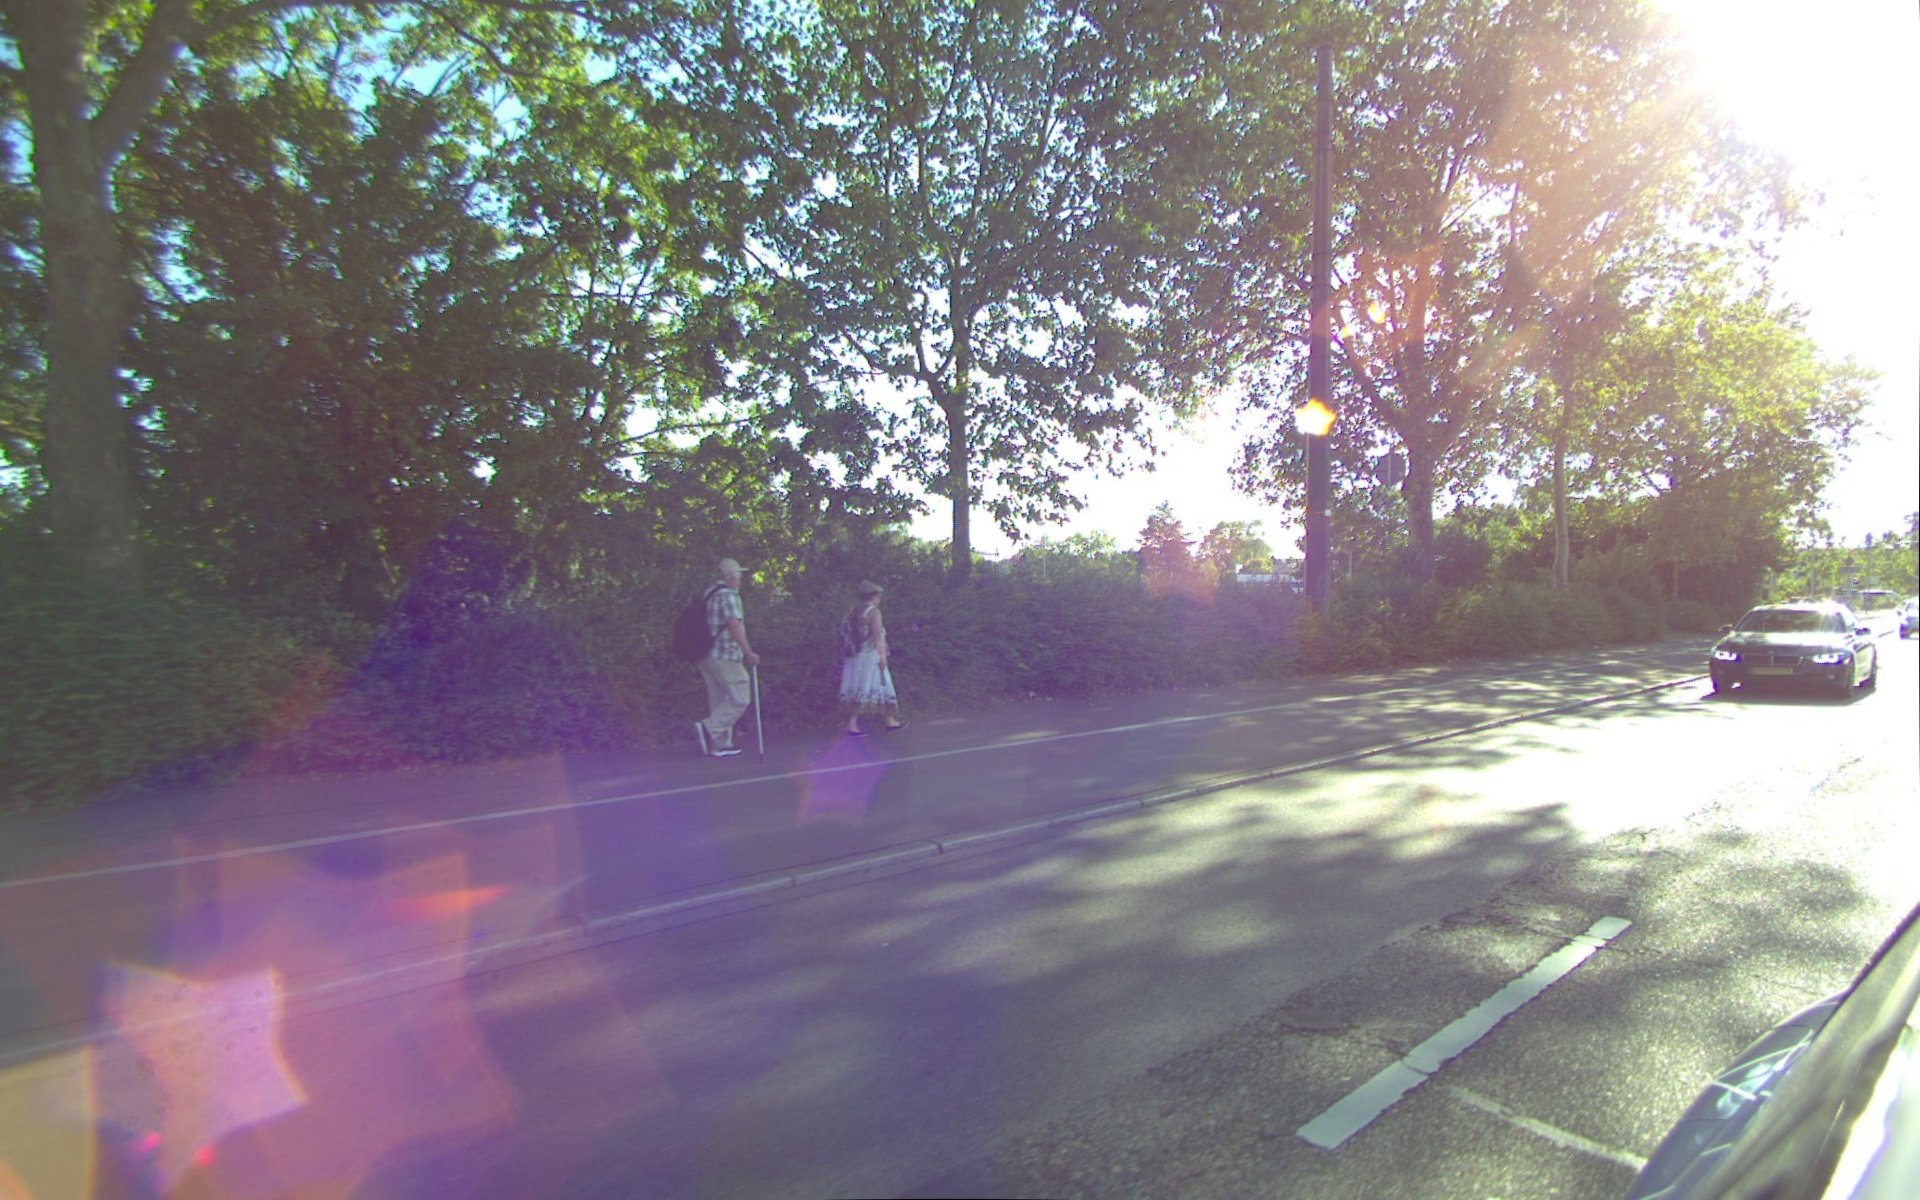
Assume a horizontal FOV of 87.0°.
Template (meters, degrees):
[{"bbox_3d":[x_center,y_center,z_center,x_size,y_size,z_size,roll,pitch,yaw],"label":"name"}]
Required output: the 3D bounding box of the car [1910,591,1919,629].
[{"bbox_3d":[37.915,0.356,38.990,1.852,1.441,3.916,0,0,44],"label":"car"}]

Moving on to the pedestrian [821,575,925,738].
[{"bbox_3d":[-0.846,0.512,9.825,0.709,1.498,0.724,0,2,-41],"label":"pedestrian"}]

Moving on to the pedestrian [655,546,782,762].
[{"bbox_3d":[-2.057,0.415,8.612,0.799,1.729,0.723,0,2,-41],"label":"pedestrian"}]

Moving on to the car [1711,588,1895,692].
[{"bbox_3d":[14.328,0.565,17.104,4.510,1.486,1.867,-1,1,-43],"label":"car"}]
